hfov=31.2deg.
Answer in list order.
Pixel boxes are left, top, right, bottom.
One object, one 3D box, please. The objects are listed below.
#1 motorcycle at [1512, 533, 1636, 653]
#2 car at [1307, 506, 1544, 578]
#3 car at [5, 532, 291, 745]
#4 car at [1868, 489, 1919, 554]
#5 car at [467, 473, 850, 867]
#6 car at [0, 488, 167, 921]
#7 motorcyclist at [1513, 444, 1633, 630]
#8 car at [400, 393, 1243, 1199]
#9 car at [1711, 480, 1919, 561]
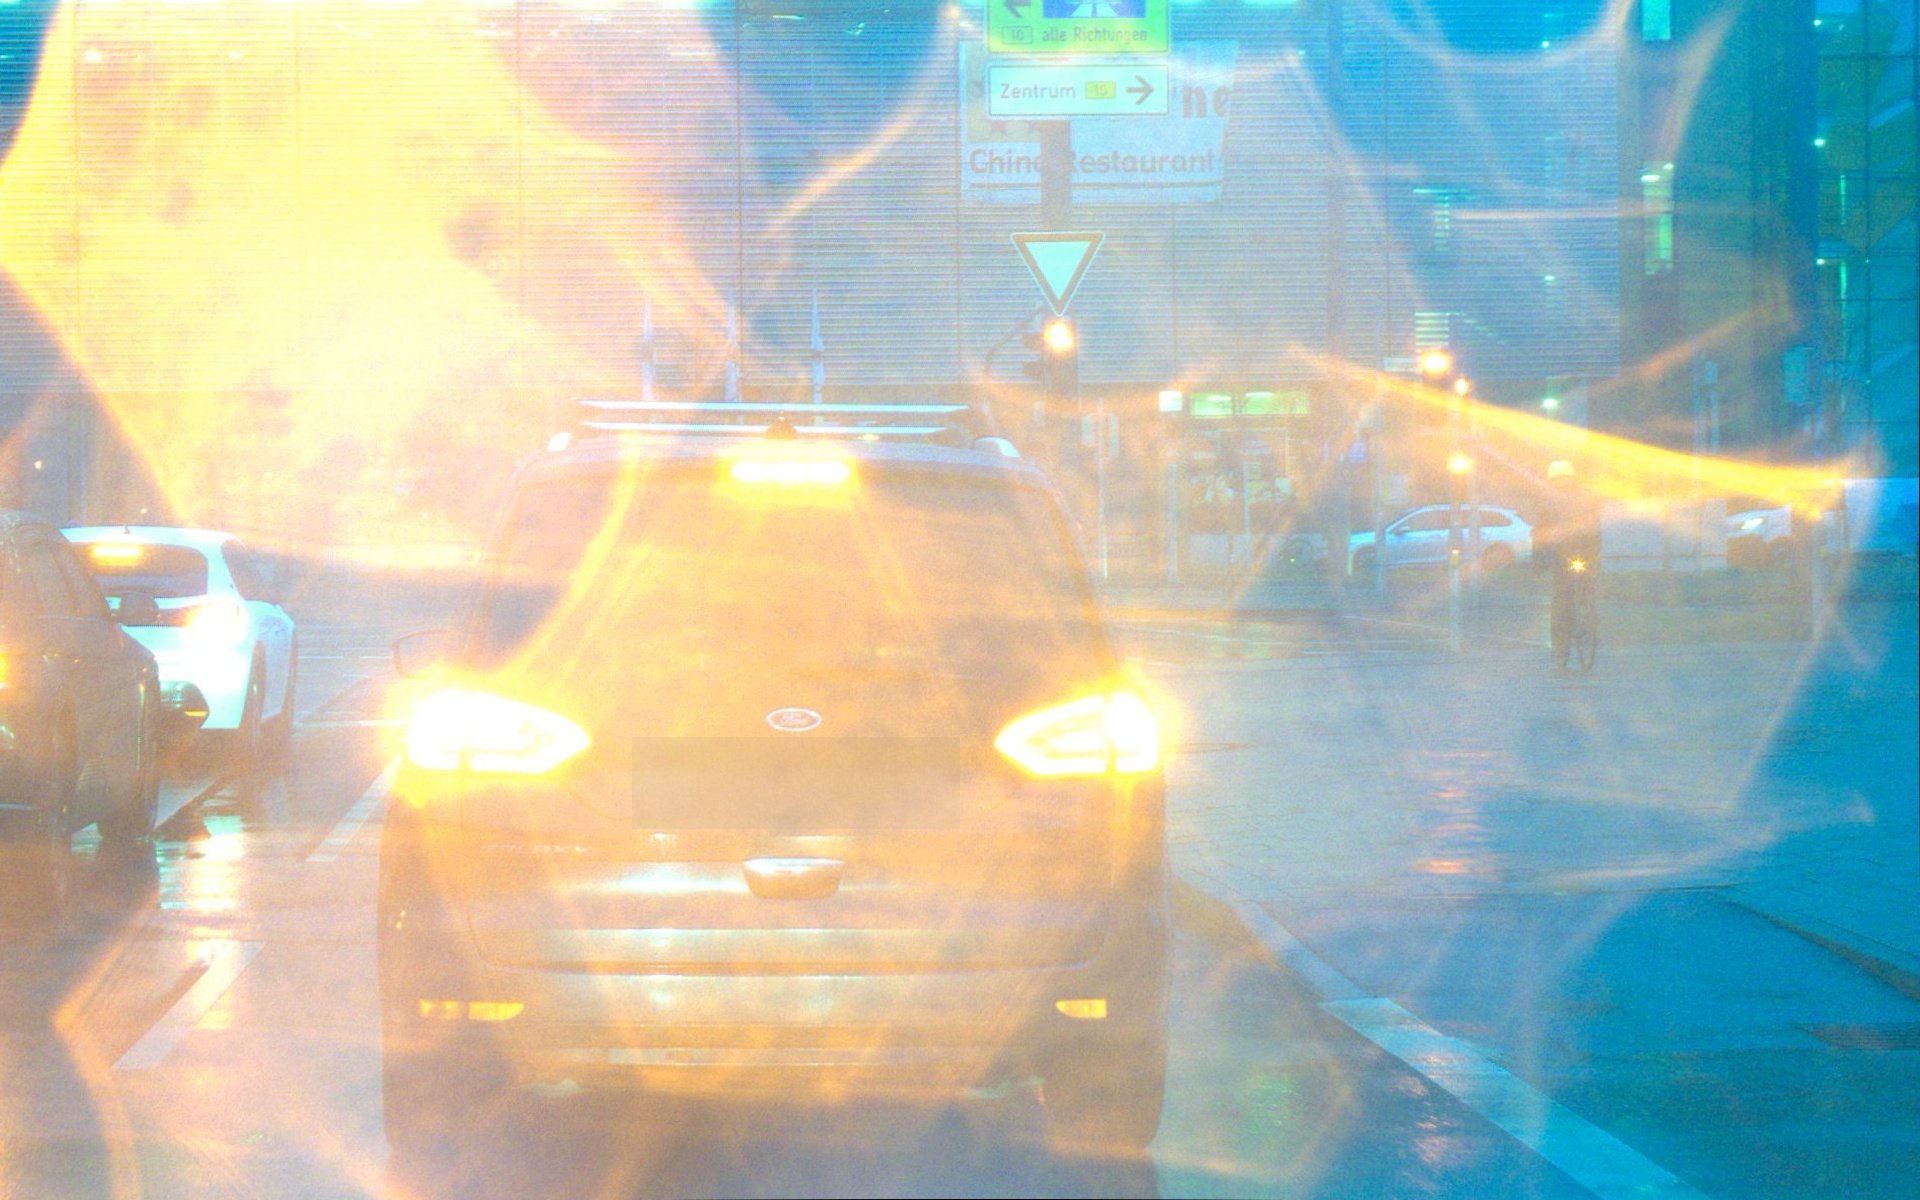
[{"bbox_3d":[5.169,-0.071,29.035,0.853,0.968,1.581,0,1,4],"label":"motorcycle"},{"bbox_3d":[9.403,-1.175,69.582,4.418,1.385,1.800,-1,1,-9],"label":"car"},{"bbox_3d":[-5.204,0.185,22.407,1.540,1.247,4.069,0,1,-10],"label":"car"},{"bbox_3d":[22.191,-1.731,74.994,4.214,1.385,1.800,-1,1,-9],"label":"car"},{"bbox_3d":[-1.503,0.273,16.691,1.636,1.691,3.672,0,1,-6],"label":"car"},{"bbox_3d":[-4.462,0.347,14.355,1.752,1.568,4.001,-1,1,-6],"label":"car"},{"bbox_3d":[5.154,-0.534,28.978,0.868,1.529,1.108,0,1,4],"label":"motorcyclist"},{"bbox_3d":[-0.447,0.400,9.400,1.735,1.732,4.248,2,1,-4],"label":"car"},{"bbox_3d":[17.818,-1.630,70.374,4.418,1.589,1.800,-1,1,-9],"label":"car"}]
